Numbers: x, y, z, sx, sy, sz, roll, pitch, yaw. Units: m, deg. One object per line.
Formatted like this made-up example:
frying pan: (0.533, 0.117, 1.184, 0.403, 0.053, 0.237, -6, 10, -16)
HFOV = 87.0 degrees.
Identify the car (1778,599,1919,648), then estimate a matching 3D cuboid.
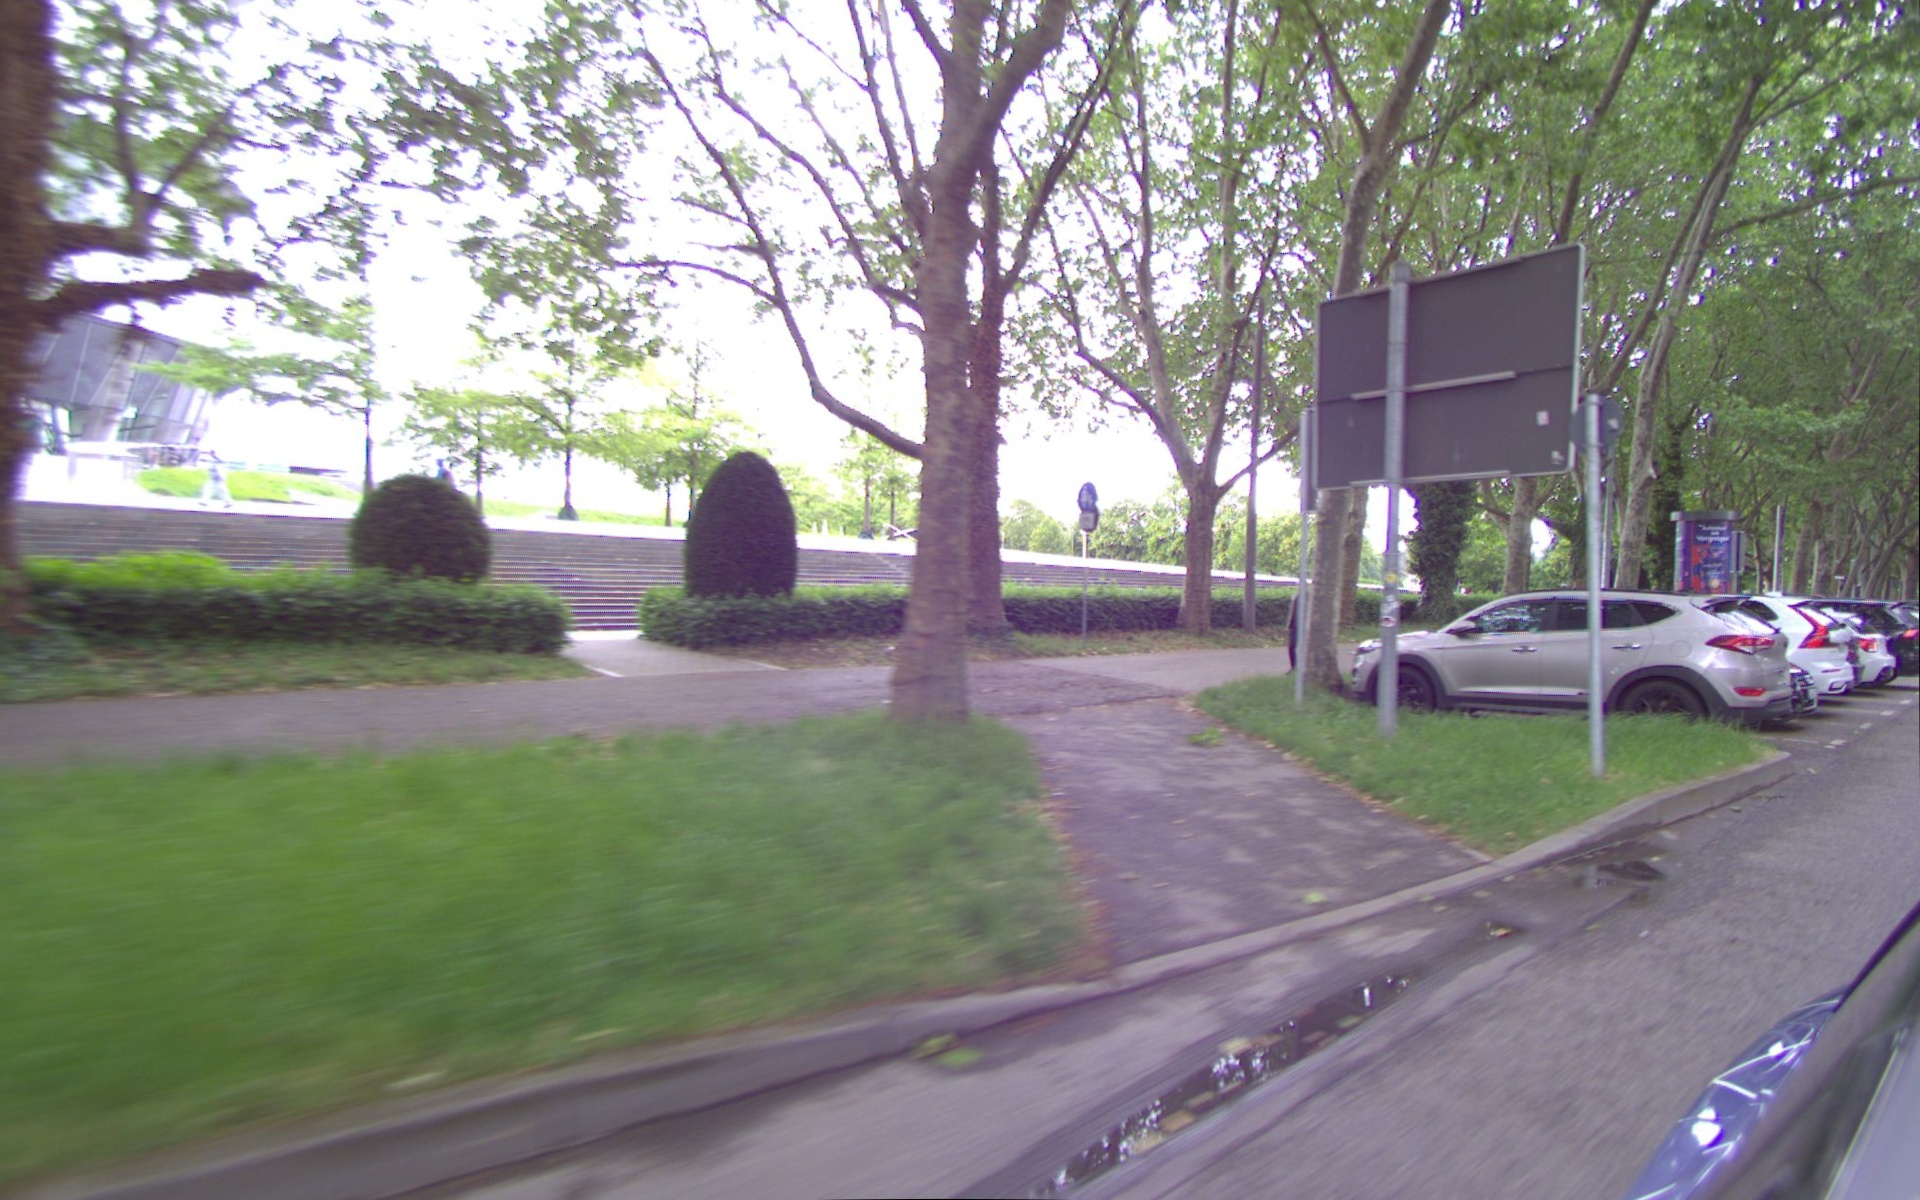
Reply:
car: (28.792, 0.724, 31.954, 1.891, 1.431, 4.354, 1, 0, -40)

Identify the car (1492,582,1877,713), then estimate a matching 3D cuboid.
car: (10.571, 0.582, 15.039, 1.891, 1.654, 4.354, 1, 0, -40)

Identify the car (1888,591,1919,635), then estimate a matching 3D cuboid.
car: (41.741, 0.573, 42.060, 2.012, 1.819, 4.502, 1, 0, -41)

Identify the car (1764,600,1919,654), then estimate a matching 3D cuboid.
car: (25.140, 0.723, 28.202, 1.713, 1.397, 4.048, 1, 0, -40)

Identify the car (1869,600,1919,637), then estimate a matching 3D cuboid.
car: (38.238, 0.727, 39.078, 1.898, 1.446, 4.504, 0, 0, -40)

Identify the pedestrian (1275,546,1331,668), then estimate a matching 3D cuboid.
pedestrian: (5.882, 0.101, 17.351, 0.781, 2.039, 0.592, 1, 1, 33)

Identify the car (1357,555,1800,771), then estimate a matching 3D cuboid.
car: (6.981, 0.584, 11.733, 1.965, 2.039, 3.994, 1, 0, -40)

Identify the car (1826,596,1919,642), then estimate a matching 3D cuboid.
car: (32.670, 0.662, 34.621, 1.890, 1.521, 4.357, 1, 0, -38)

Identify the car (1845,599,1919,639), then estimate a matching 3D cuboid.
car: (36.229, 0.717, 37.852, 1.796, 1.437, 4.505, 0, 0, -39)

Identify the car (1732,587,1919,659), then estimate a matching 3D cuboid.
car: (23.304, 0.560, 26.762, 1.806, 1.767, 4.351, 1, 0, -43)

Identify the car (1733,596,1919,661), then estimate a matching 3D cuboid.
car: (21.716, 0.650, 24.798, 1.697, 1.476, 4.156, 0, 0, -40)

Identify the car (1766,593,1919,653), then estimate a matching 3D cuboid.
car: (26.964, 0.649, 29.957, 1.838, 1.660, 4.602, 1, 0, -39)

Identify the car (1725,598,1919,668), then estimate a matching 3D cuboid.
car: (19.762, 0.700, 22.967, 1.638, 1.445, 3.642, 1, 0, -44)

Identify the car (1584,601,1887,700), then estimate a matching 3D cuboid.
car: (12.683, 0.738, 16.708, 1.745, 1.420, 3.736, 0, 0, -42)

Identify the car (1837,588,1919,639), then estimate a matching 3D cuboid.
car: (34.734, 0.482, 36.422, 2.009, 1.819, 4.508, 1, 0, -37)

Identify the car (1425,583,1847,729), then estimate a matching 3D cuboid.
car: (8.825, 0.610, 13.530, 1.891, 1.625, 4.354, 1, 0, -40)

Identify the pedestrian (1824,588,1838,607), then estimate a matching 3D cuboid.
pedestrian: (71.352, -0.222, 82.875, 0.685, 1.587, 0.725, 0, 1, -35)

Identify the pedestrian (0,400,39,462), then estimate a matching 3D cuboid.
pedestrian: (-29.616, -5.311, 31.886, 0.667, 1.787, 0.838, 0, 1, -25)

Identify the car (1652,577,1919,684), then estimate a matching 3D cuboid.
car: (16.228, 0.506, 19.594, 1.893, 1.782, 4.353, 0, 2, -42)

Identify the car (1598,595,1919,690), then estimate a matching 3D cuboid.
car: (14.289, 0.679, 18.280, 1.916, 1.474, 4.351, 1, 0, -42)

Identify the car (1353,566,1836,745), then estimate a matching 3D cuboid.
car: (7.055, 0.498, 11.641, 1.891, 1.654, 4.354, 1, 0, -40)
